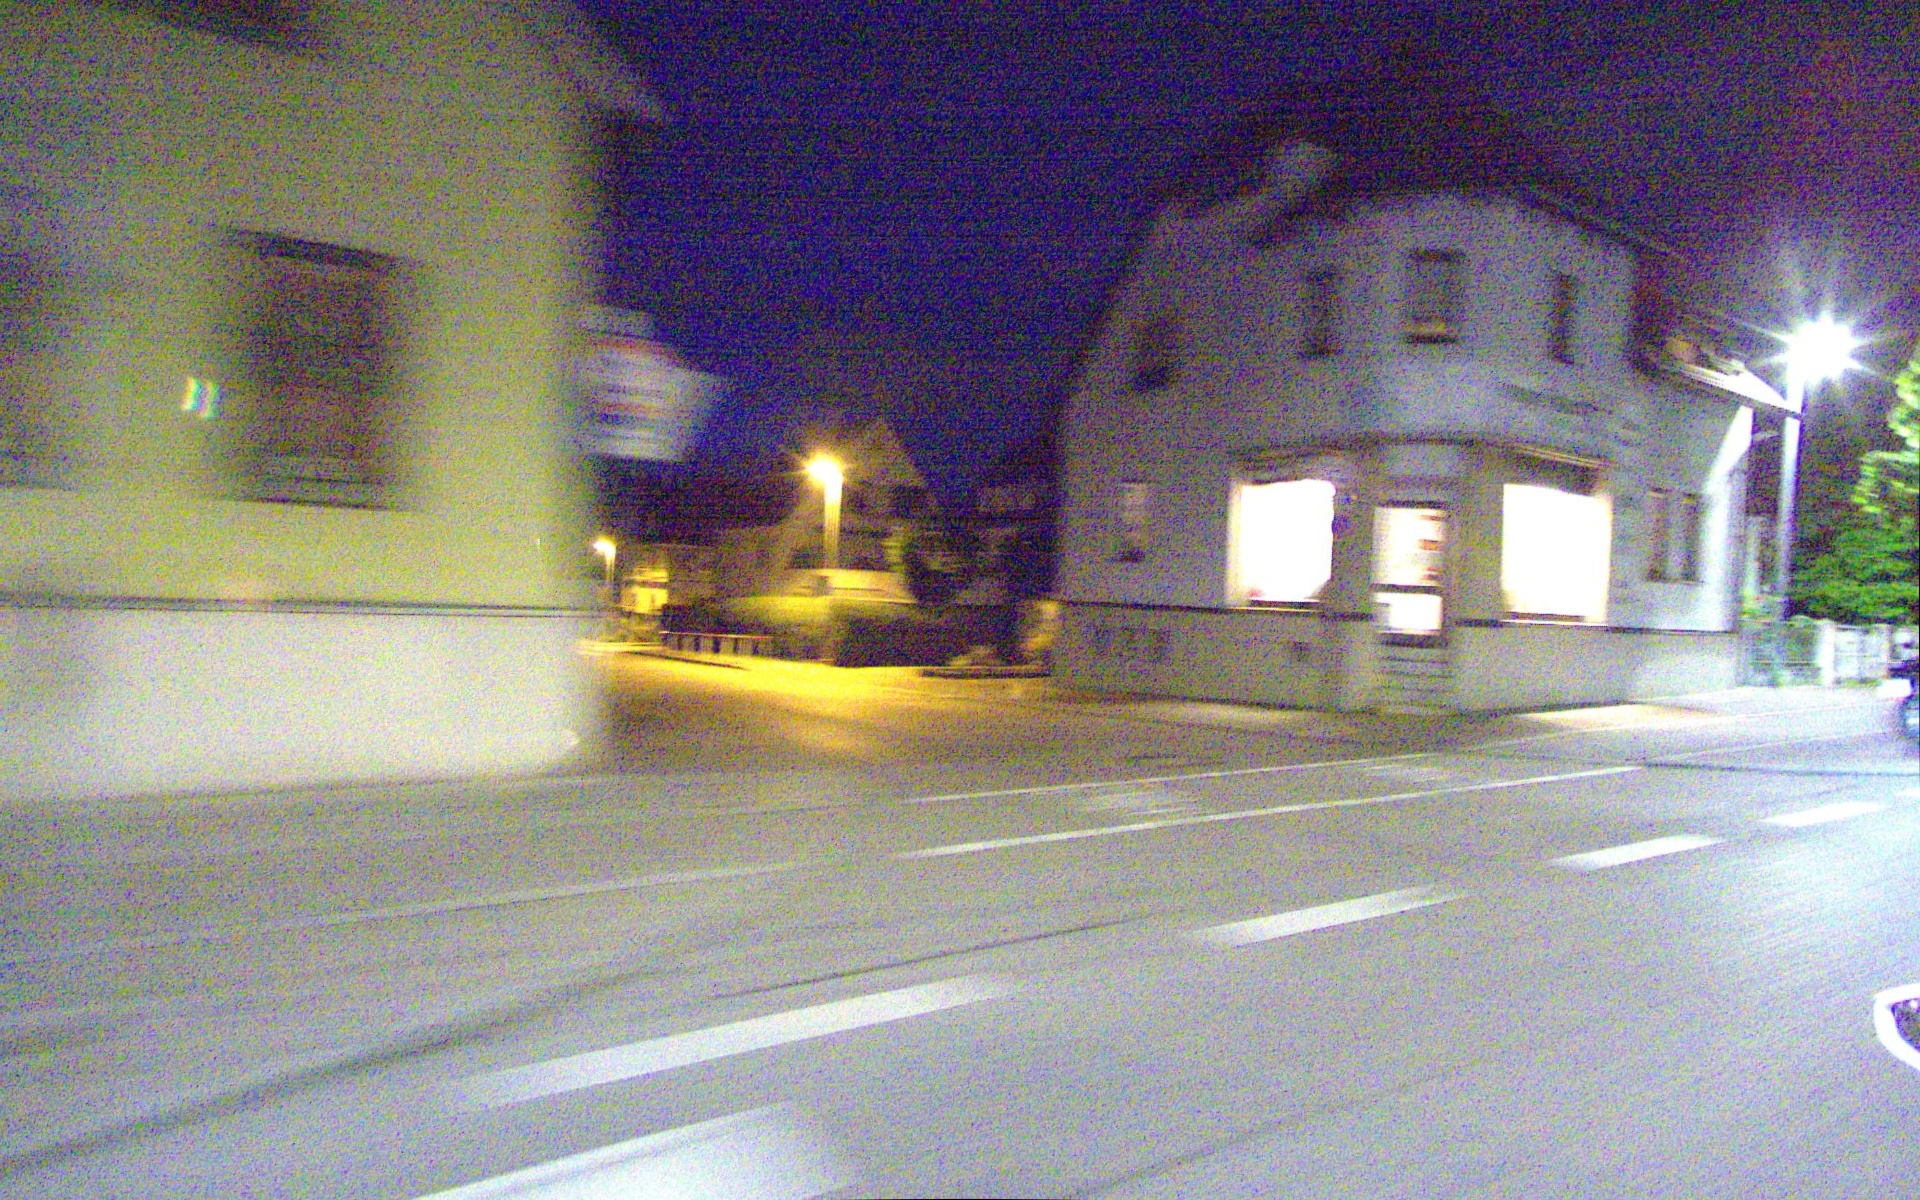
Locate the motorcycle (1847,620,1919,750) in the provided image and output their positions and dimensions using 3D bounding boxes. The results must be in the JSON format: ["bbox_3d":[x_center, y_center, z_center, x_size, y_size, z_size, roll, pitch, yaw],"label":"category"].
[{"bbox_3d":[11.851,0.997,12.191,2.164,1.471,0.744,1,0,-23],"label":"motorcycle"}]
